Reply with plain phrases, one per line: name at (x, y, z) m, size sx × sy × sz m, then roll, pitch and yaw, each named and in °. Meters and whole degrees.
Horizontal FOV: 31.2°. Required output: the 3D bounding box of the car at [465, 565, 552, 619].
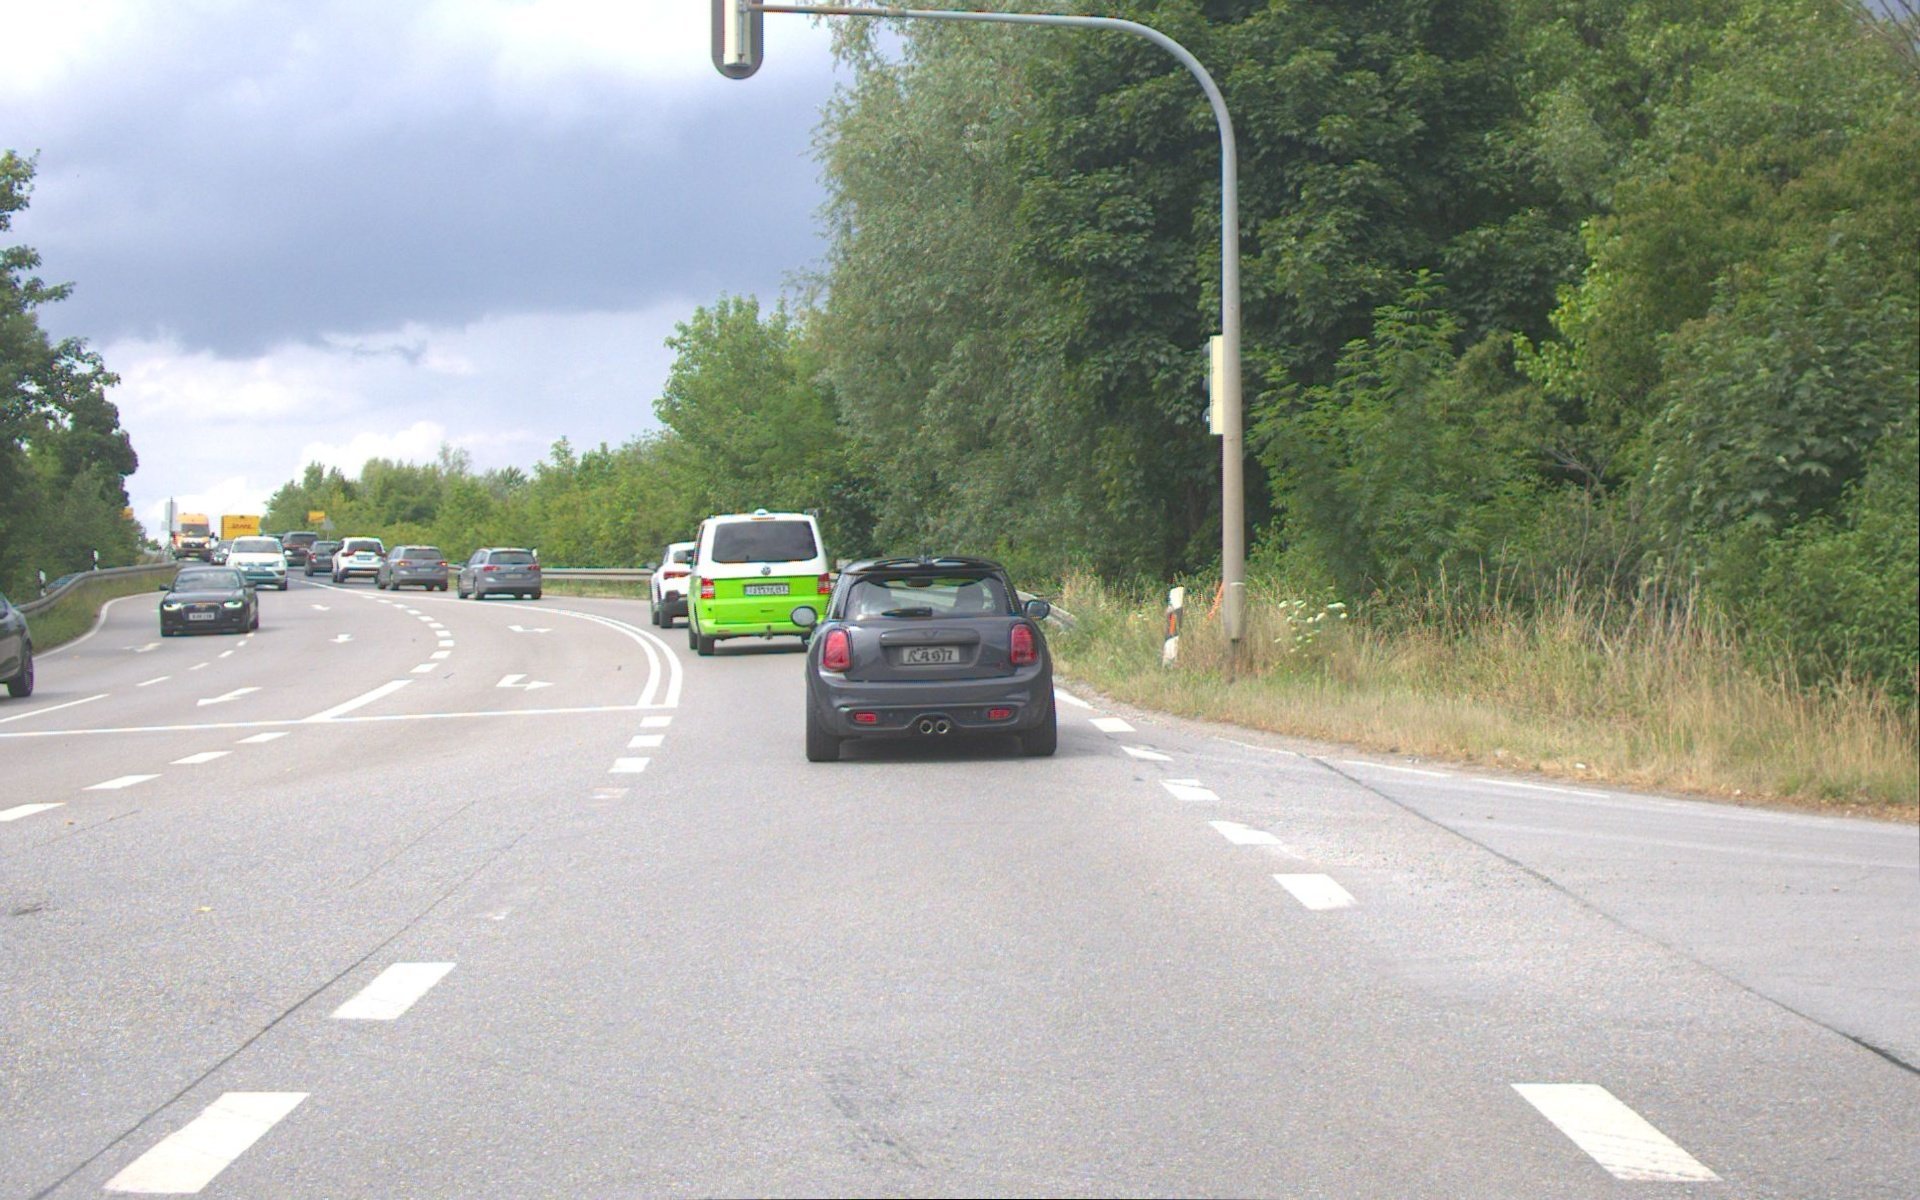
car at (-12.616, -0.217, 95.938) m, size 1.993 × 1.471 × 4.487 m, roll 0°, pitch 0°, yaw -13°

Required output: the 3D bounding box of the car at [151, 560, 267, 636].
car at (-15.812, -0.060, 72.514) m, size 1.737 × 1.401 × 4.251 m, roll -4°, pitch 1°, yaw -4°

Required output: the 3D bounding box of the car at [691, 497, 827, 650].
car at (-2.850, -0.416, 48.621) m, size 1.844 × 1.980 × 3.842 m, roll 0°, pitch 3°, yaw -4°

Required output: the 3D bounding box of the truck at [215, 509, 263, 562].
truck at (-44.843, -3.959, 213.903) m, size 2.716 × 2.888 × 8.772 m, roll 1°, pitch -2°, yaw -11°

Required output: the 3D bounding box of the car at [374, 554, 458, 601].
car at (-17.708, -0.730, 111.794) m, size 1.993 × 1.471 × 4.487 m, roll 0°, pitch 0°, yaw -18°

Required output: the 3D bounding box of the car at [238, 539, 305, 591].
car at (-21.953, -1.125, 109.728) m, size 1.993 × 1.607 × 4.001 m, roll -1°, pitch 1°, yaw -10°

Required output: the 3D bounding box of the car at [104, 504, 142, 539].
car at (-48.239, -4.539, 198.235) m, size 1.993 × 2.007 × 4.001 m, roll -1°, pitch 1°, yaw -12°

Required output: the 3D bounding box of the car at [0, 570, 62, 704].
car at (-12.248, 0.459, 41.612) m, size 1.762 × 1.577 × 4.203 m, roll -2°, pitch 1°, yaw -2°

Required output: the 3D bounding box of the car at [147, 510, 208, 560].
car at (-26.760, -2.221, 117.485) m, size 1.993 × 1.684 × 4.001 m, roll -1°, pitch 1°, yaw -13°

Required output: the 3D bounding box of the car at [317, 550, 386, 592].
car at (-22.313, -1.050, 125.970) m, size 1.993 × 1.471 × 4.487 m, roll 0°, pitch 0°, yaw -16°

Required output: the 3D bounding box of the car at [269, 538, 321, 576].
car at (-30.829, -1.993, 159.391) m, size 1.993 × 1.690 × 4.487 m, roll 0°, pitch 0°, yaw -16°

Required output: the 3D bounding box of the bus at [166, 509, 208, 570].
bus at (-43.166, -3.392, 191.875) m, size 1.993 × 3.291 × 7.431 m, roll -1°, pitch 1°, yaw -15°

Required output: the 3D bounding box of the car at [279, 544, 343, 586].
car at (-27.046, -1.434, 143.148) m, size 1.993 × 1.690 × 4.487 m, roll 0°, pitch 0°, yaw -19°

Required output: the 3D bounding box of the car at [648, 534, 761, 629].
car at (-4.728, -0.349, 63.732) m, size 1.993 × 1.678 × 4.001 m, roll -1°, pitch 0°, yaw -4°

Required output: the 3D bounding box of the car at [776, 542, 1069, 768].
car at (-0.352, 0.337, 25.012) m, size 1.844 × 1.423 × 3.842 m, roll -1°, pitch 2°, yaw -5°
